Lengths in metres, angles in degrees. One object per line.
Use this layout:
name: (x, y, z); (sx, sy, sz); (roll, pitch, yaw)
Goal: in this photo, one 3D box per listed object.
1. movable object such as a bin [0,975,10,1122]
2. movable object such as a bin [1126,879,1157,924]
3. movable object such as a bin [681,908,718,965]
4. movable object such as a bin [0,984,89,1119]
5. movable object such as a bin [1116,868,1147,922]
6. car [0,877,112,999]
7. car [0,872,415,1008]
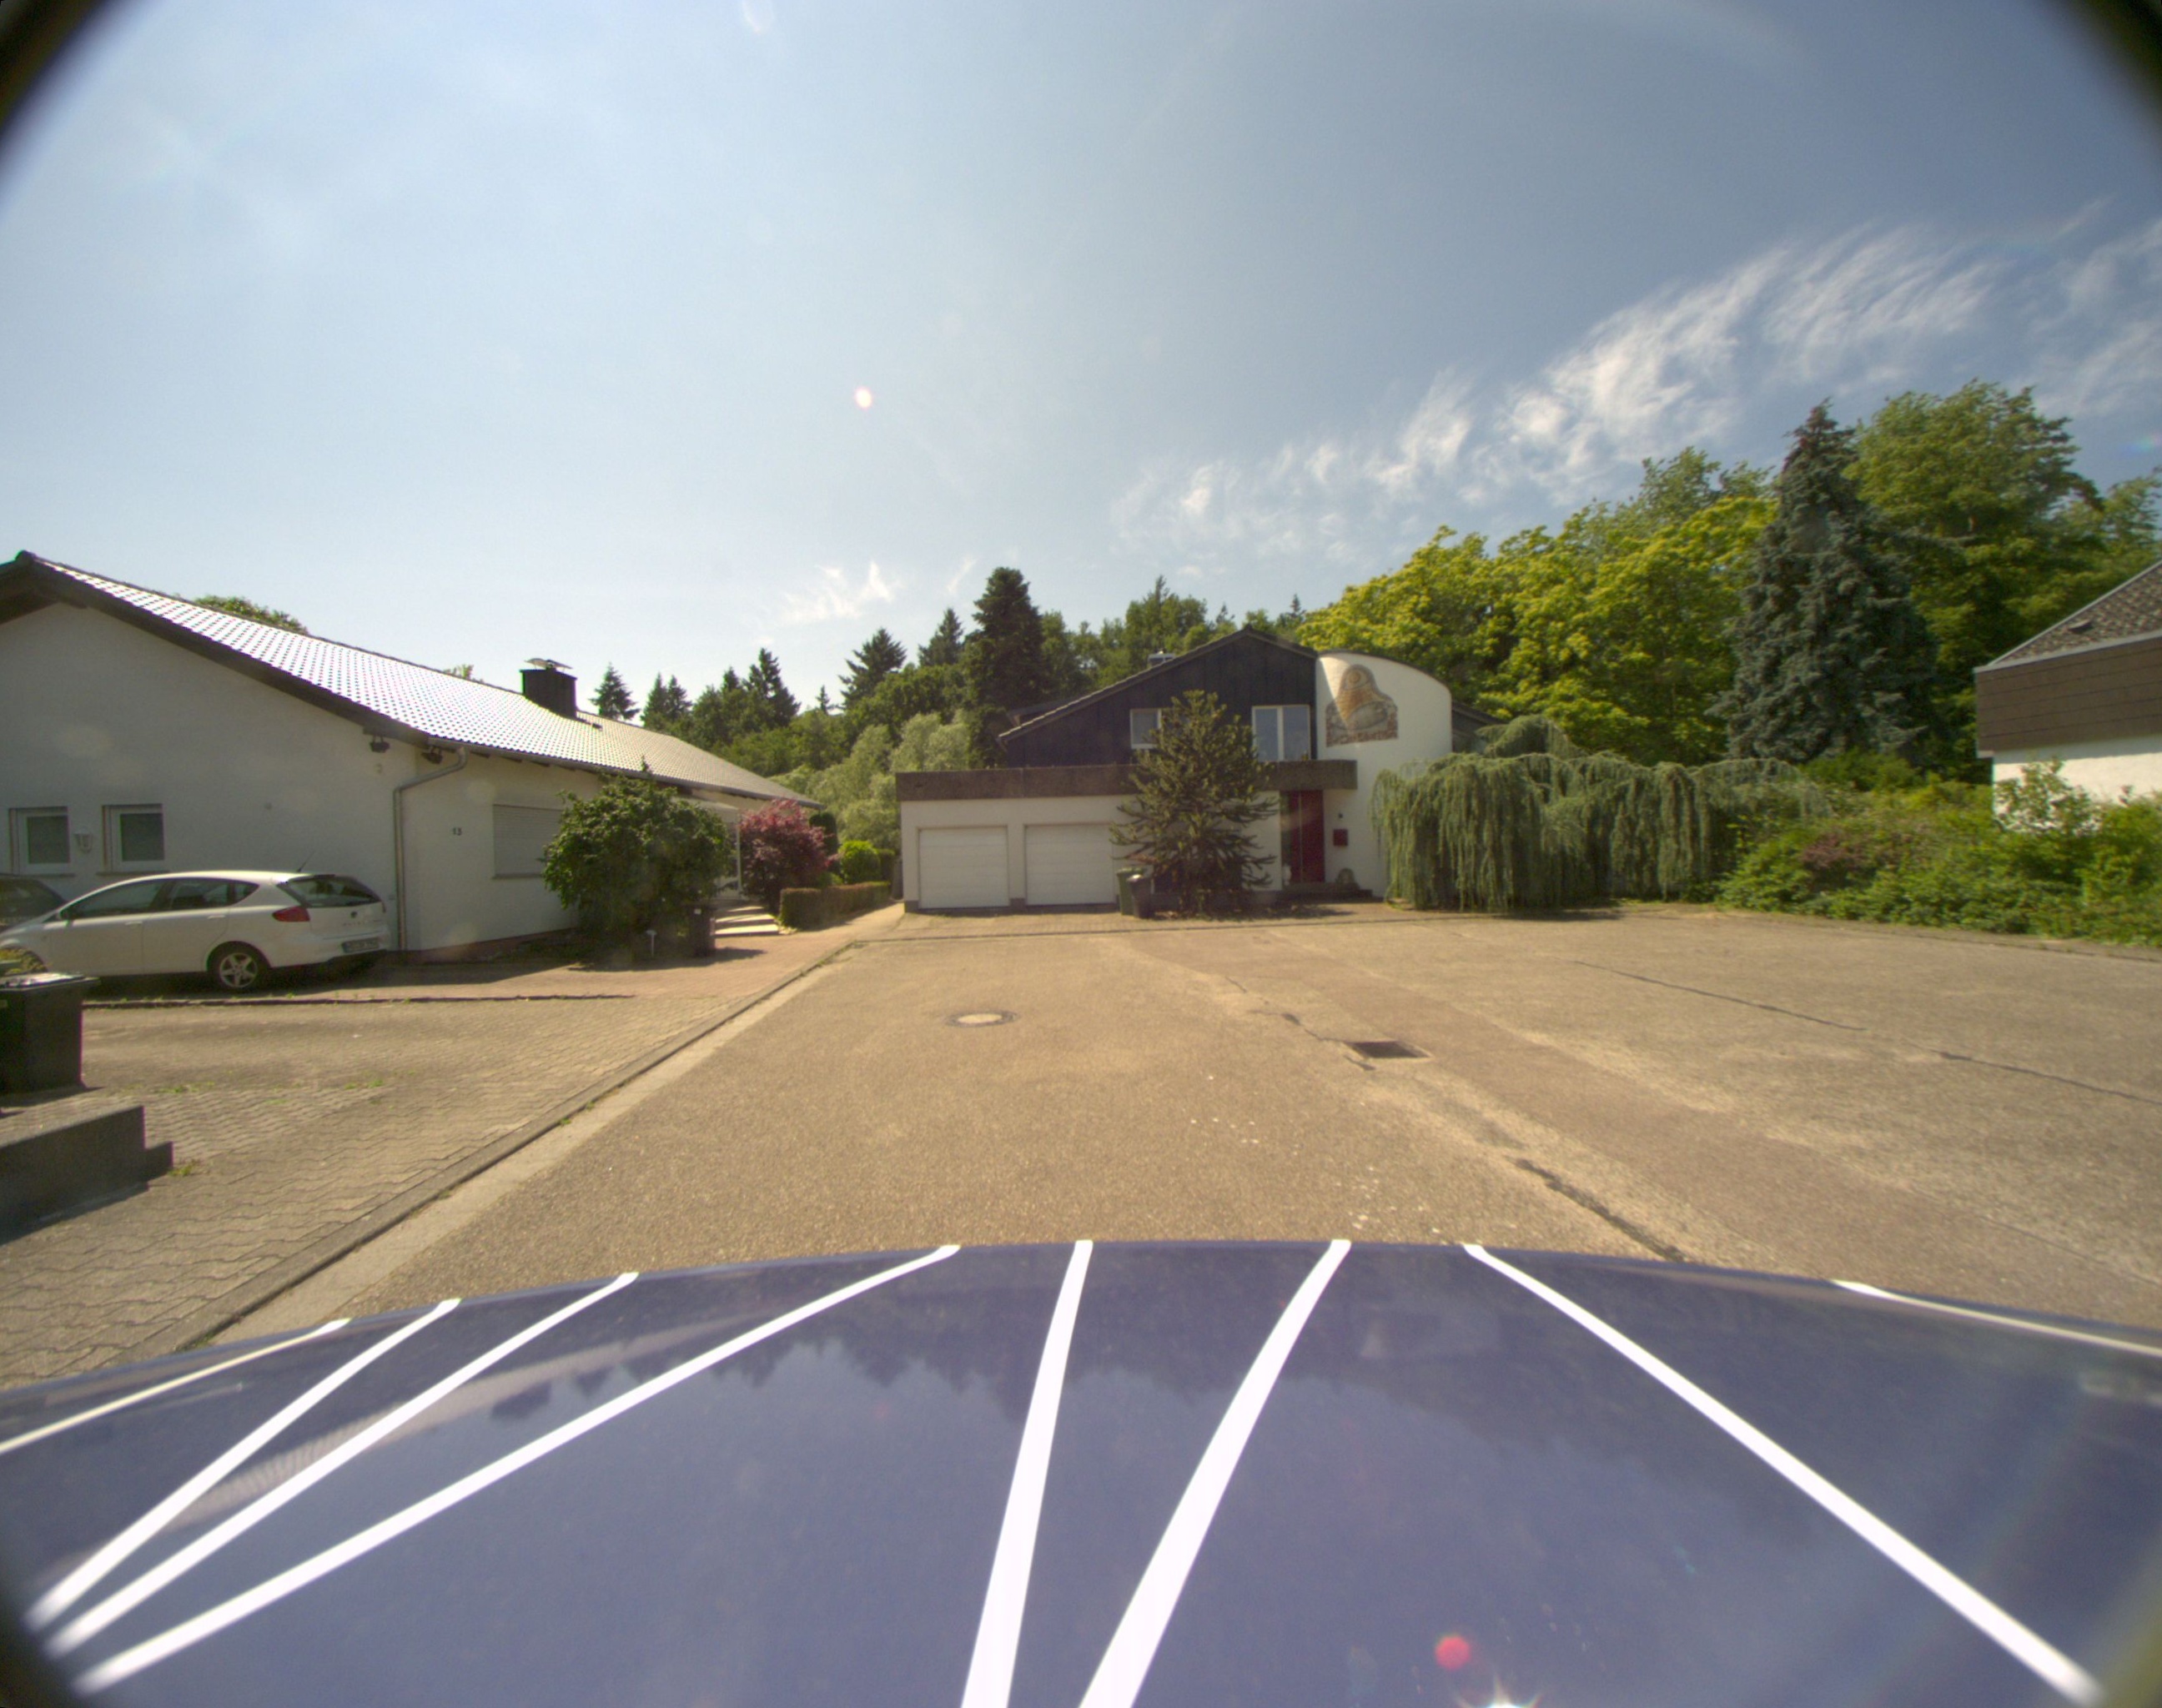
movable object such as a bin: (-7.851, 1.387, 5.073); (0.491, 1.035, 0.592); (-2, 2, -7)
movable object such as a bin: (1.341, 1.039, 16.810); (0.524, 0.944, 0.388); (-2, 1, -26)
movable object such as a bin: (-6.304, 1.366, 12.573); (0.390, 0.886, 0.375); (-2, 2, -1)
movable object such as a bin: (-7.844, 1.448, 5.613); (0.426, 0.886, 0.407); (-2, 2, -7)
movable object such as a bin: (1.156, 0.941, 17.478); (0.633, 1.196, 0.551); (-2, 1, 1)
car: (-16.663, 1.199, 10.508); (3.997, 1.599, 1.928); (-1, 1, 1)
car: (-11.976, 1.104, 10.409); (3.998, 1.559, 1.751); (-1, 1, -3)
